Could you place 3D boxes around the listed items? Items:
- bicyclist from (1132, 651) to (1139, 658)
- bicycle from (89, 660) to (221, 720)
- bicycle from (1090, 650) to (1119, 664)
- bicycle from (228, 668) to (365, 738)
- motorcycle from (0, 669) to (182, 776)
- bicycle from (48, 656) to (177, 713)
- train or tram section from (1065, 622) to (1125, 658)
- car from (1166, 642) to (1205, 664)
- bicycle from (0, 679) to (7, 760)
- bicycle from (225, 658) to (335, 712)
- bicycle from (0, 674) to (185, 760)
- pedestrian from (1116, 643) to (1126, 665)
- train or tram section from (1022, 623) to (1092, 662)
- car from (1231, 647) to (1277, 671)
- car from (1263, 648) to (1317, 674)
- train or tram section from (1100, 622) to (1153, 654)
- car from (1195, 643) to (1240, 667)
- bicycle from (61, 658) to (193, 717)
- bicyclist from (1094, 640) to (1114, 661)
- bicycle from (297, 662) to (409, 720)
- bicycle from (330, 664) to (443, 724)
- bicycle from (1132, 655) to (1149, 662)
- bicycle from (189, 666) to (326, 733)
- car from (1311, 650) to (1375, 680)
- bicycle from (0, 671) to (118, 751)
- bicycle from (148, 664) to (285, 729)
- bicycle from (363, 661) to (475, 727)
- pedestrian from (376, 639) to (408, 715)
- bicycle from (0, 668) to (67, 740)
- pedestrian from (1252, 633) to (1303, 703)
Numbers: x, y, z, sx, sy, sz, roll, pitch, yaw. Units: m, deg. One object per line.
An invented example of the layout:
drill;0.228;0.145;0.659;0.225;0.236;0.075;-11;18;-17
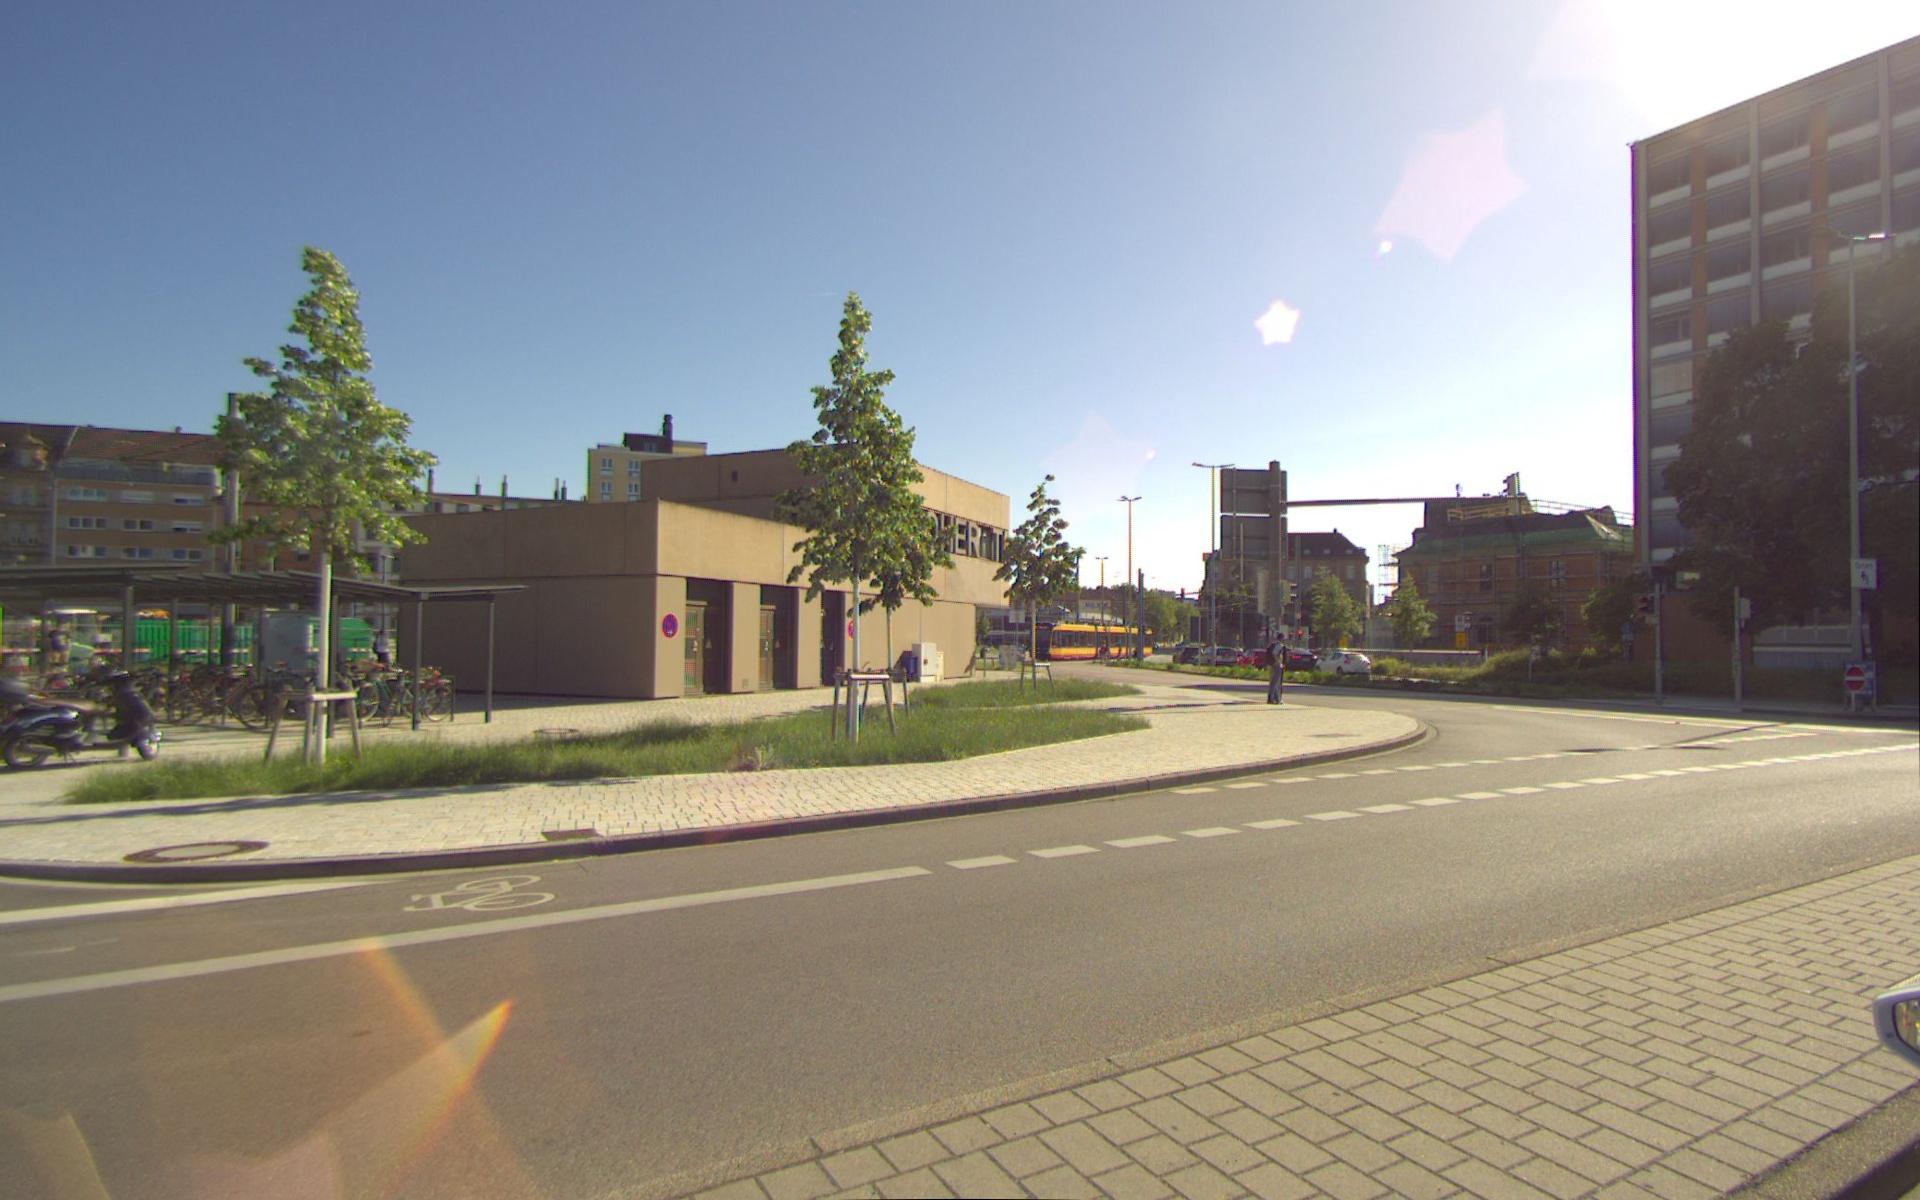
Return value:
bicyclist;14.857;4.612;84.853;0.560;0.556;0.431;0;-2;11
bicycle;-15.072;1.658;18.866;0.449;1.022;1.902;0;-2;26
bicycle;12.206;4.799;84.807;2.370;1.076;0.811;2;0;11
bicycle;-10.902;1.665;16.572;0.449;1.022;1.902;0;-2;26
motorcycle;-10.911;1.478;12.472;0.508;1.166;1.947;0;-2;25
bicycle;-16.691;1.641;19.840;0.449;1.022;1.902;0;-2;26
train or tram section;13.678;3.932;100.837;2.651;3.275;10.589;2;0;27
car;16.792;3.932;74.998;1.760;1.528;3.880;1;-2;-6
bicycle;-12.737;1.487;12.005;0.449;1.022;1.902;0;-2;26
bicycle;-14.064;1.731;20.831;0.449;1.022;1.902;0;-2;26
bicycle;-11.806;1.558;13.725;0.449;1.022;1.902;0;-2;26
pedestrian;13.113;4.427;81.986;0.761;1.786;0.706;0;-2;7
train or tram section;8.979;3.743;91.374;2.651;3.275;10.589;2;0;27
car;20.221;4.035;69.250;1.760;1.528;3.880;1;-2;-6
car;20.591;3.770;62.790;1.760;1.528;3.880;1;-2;-6
train or tram section;18.384;4.121;110.333;2.651;3.275;10.589;2;0;27
car;17.473;3.697;68.271;1.760;1.528;3.880;1;-2;-6
bicycle;-15.908;1.646;19.242;0.449;1.022;1.902;0;-2;26
bicyclist;12.160;4.246;84.823;1.544;1.655;0.811;2;0;10
bicycle;-11.788;1.746;19.578;0.449;1.022;1.902;0;-2;26
bicycle;-10.698;1.737;18.821;0.449;1.022;1.902;0;-2;26
bicycle;15.257;4.908;84.756;1.381;0.556;0.435;0;-2;11
bicycle;-11.880;1.655;17.061;0.449;1.022;1.902;0;-2;26
car;21.263;3.596;55.934;1.760;1.528;3.880;1;-2;-6
bicycle;-13.020;1.539;14.017;0.449;1.022;1.902;0;-2;26
bicycle;-12.890;1.651;17.491;0.449;1.022;1.902;0;-2;26
bicycle;-9.918;1.699;18.492;0.449;1.112;1.902;0;-2;26
pedestrian;-15.644;2.108;27.689;0.710;2.040;0.682;2;-3;-30
bicycle;-14.150;1.511;14.448;0.449;1.022;1.902;0;-2;26
pedestrian;8.030;1.709;25.432;1.044;1.753;0.652;1;-2;-16
